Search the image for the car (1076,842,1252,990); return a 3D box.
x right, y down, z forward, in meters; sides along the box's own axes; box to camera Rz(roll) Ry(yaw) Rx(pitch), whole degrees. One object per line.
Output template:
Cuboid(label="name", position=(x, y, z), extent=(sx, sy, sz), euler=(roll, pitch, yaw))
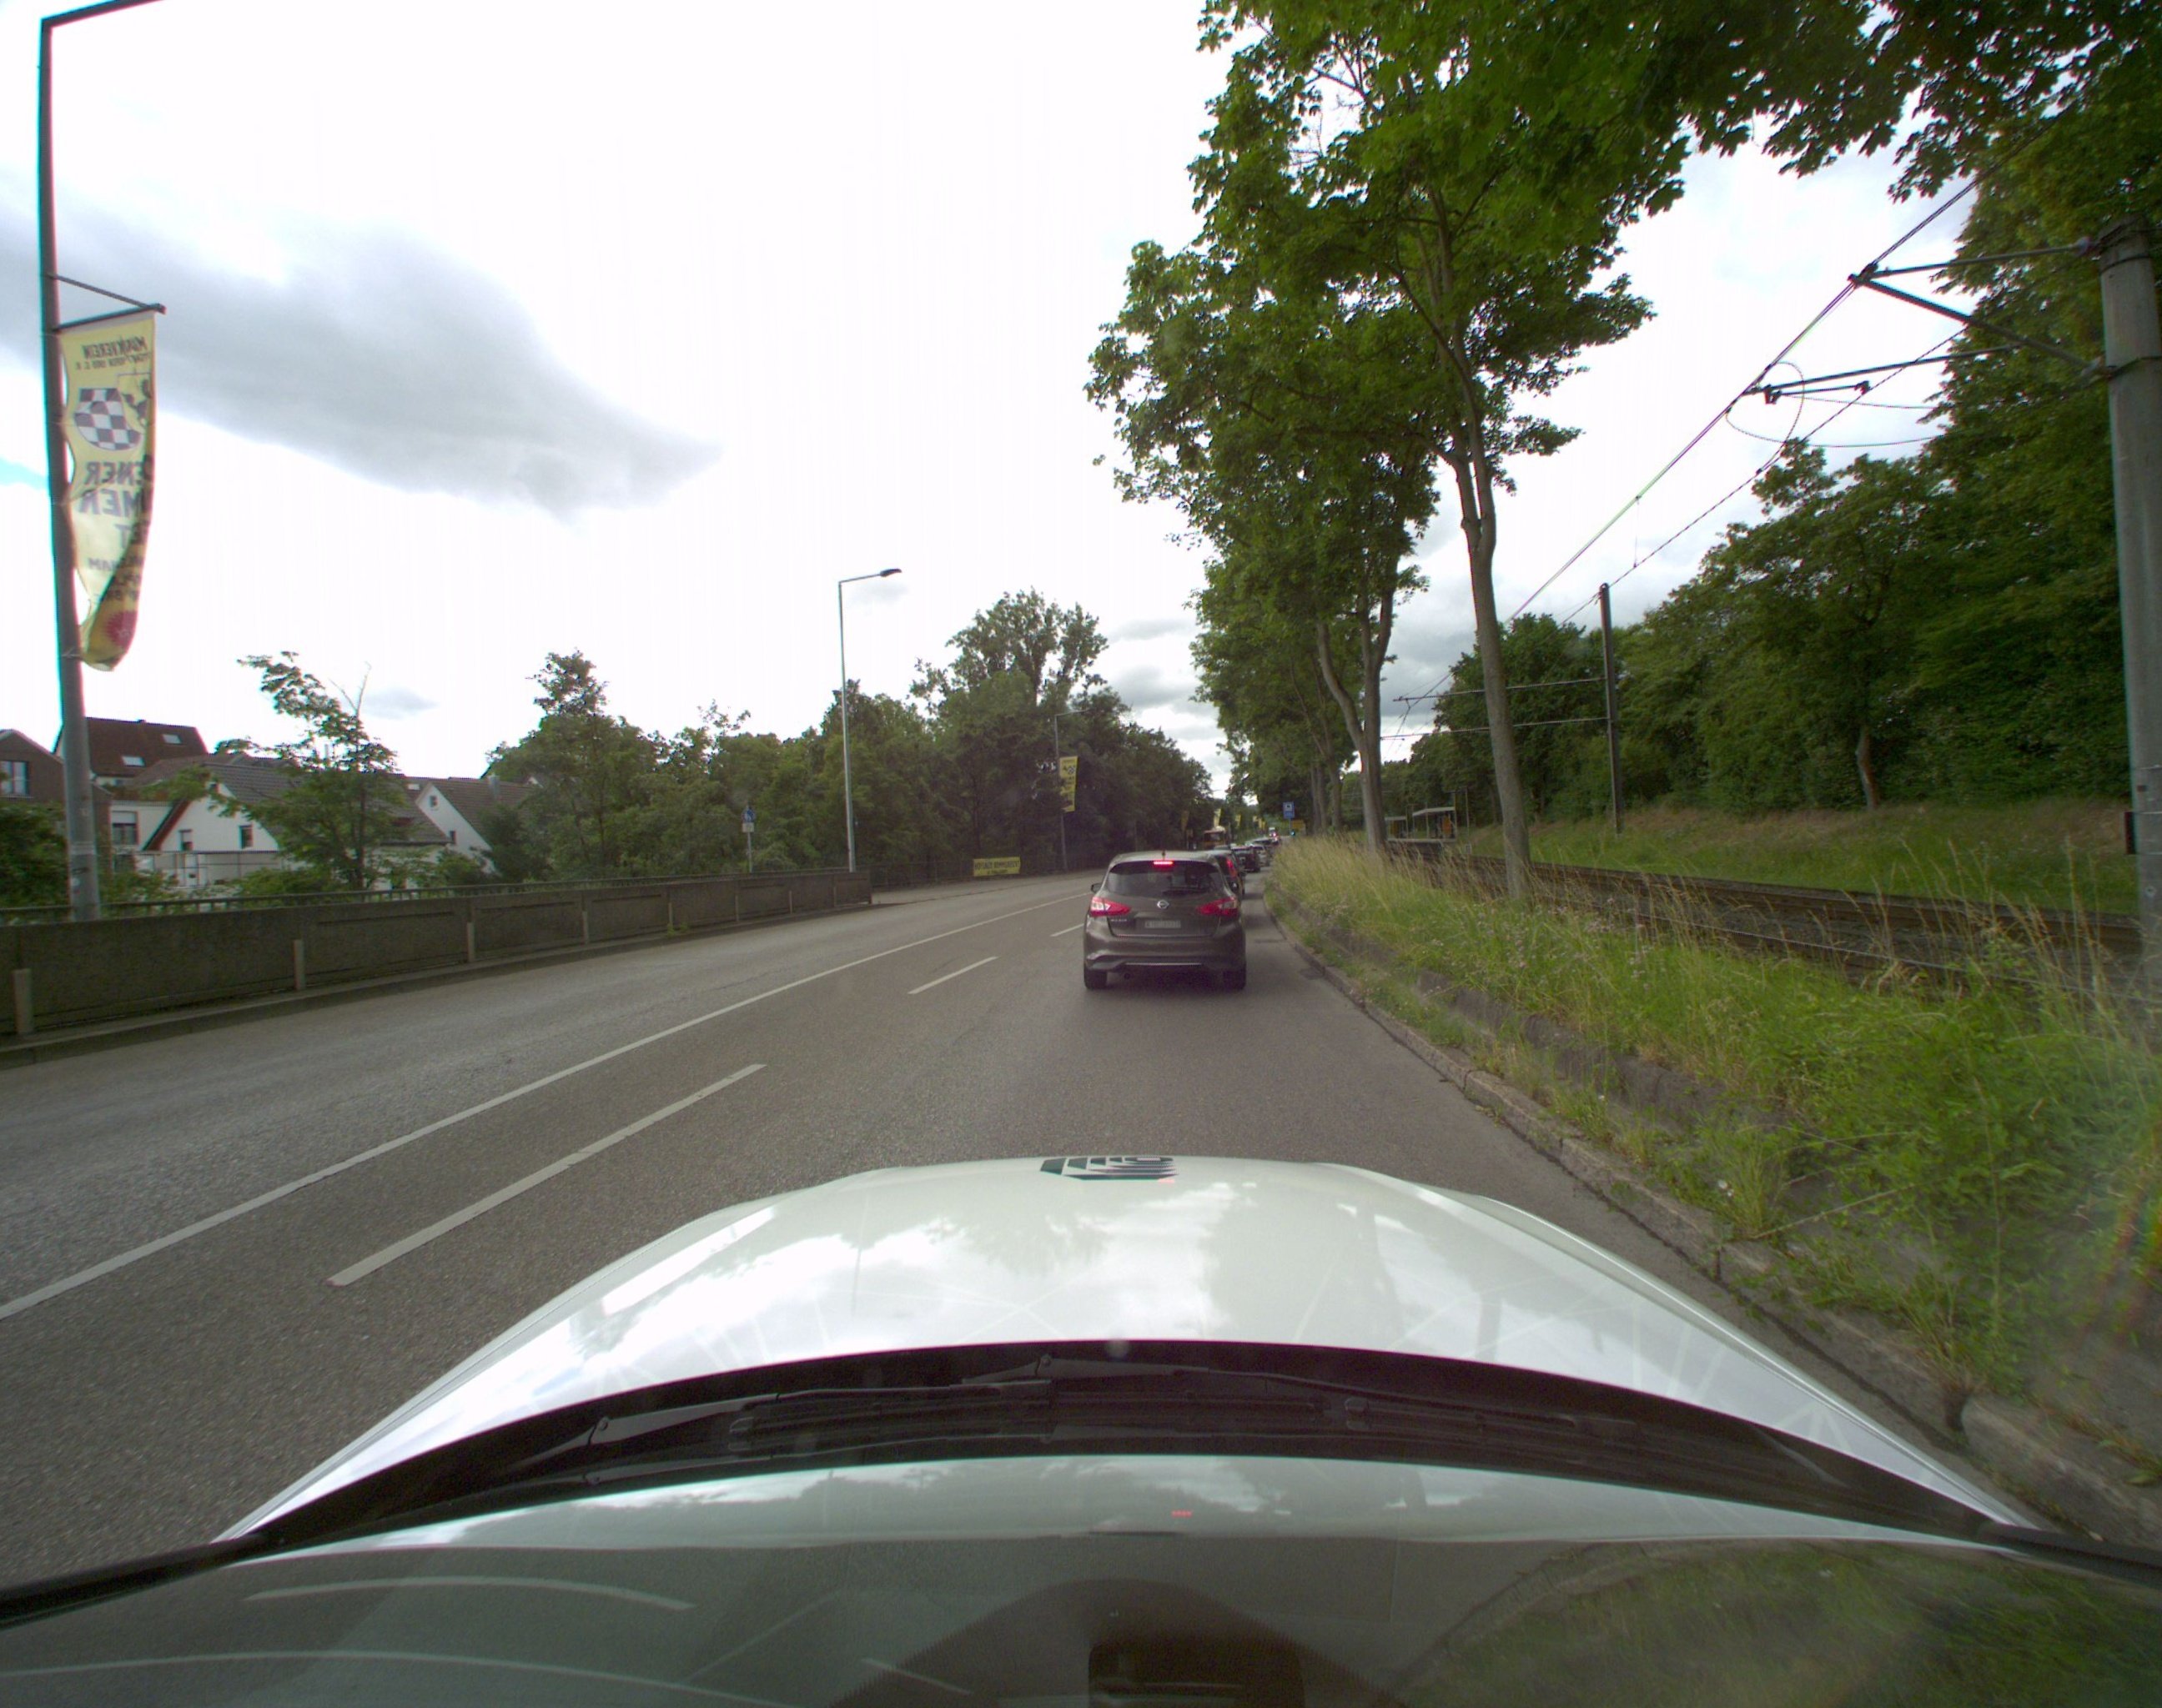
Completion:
Cuboid(label="car", position=(1.058, 0.661, 10.277), extent=(1.765, 1.494, 4.007), euler=(-1, -1, 6))

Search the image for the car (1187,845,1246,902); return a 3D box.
Cuboid(label="car", position=(4.233, 0.559, 25.124), extent=(1.568, 1.538, 4.012), euler=(-3, -1, 11))

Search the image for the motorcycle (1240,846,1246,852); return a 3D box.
Cuboid(label="motorcycle", position=(25.399, -0.790, 127.459), extent=(0.739, 1.033, 1.896), euler=(-2, 0, 16))

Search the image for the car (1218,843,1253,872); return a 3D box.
Cuboid(label="car", position=(8.511, 0.198, 44.716), extent=(1.793, 1.540, 4.012), euler=(-1, -1, 11))

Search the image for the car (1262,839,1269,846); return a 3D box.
Cuboid(label="car", position=(51.057, -3.282, 225.627), extent=(1.706, 1.693, 3.739), euler=(-3, -2, 14))

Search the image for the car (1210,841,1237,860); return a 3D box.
Cuboid(label="car", position=(11.982, -0.276, 68.354), extent=(1.838, 1.486, 4.437), euler=(-3, -1, 14))

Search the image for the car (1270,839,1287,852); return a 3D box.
Cuboid(label="car", position=(23.936, -1.037, 98.578), extent=(1.877, 1.445, 3.822), euler=(-2, 0, 15))

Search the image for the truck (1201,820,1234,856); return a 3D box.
Cuboid(label="truck", position=(16.404, -1.841, 97.267), extent=(2.635, 3.938, 10.153), euler=(-2, 0, 16))

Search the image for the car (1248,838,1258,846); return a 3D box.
Cuboid(label="car", position=(35.164, -2.492, 166.526), extent=(1.804, 1.462, 4.017), euler=(-3, 0, 15))

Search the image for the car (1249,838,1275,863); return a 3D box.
Cuboid(label="car", position=(15.281, -0.310, 68.520), extent=(1.877, 2.013, 4.016), euler=(-2, 0, 15))

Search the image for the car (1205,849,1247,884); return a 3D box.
Cuboid(label="car", position=(6.325, 0.510, 35.289), extent=(1.489, 1.364, 3.601), euler=(-3, -1, 14))

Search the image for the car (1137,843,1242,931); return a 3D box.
Cuboid(label="car", position=(2.279, 0.641, 17.124), extent=(1.882, 1.574, 4.008), euler=(-2, -1, 8))

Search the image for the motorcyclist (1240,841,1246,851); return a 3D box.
Cuboid(label="motorcyclist", position=(25.407, -1.233, 127.525), extent=(0.739, 1.539, 0.794), euler=(-2, 0, 16))

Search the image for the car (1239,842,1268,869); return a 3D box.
Cuboid(label="car", position=(11.747, 0.145, 55.200), extent=(1.706, 1.693, 4.015), euler=(-3, -2, 14))

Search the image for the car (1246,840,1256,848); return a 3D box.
Cuboid(label="car", position=(32.575, -1.941, 155.887), extent=(1.709, 1.442, 4.015), euler=(-3, -1, 14))
